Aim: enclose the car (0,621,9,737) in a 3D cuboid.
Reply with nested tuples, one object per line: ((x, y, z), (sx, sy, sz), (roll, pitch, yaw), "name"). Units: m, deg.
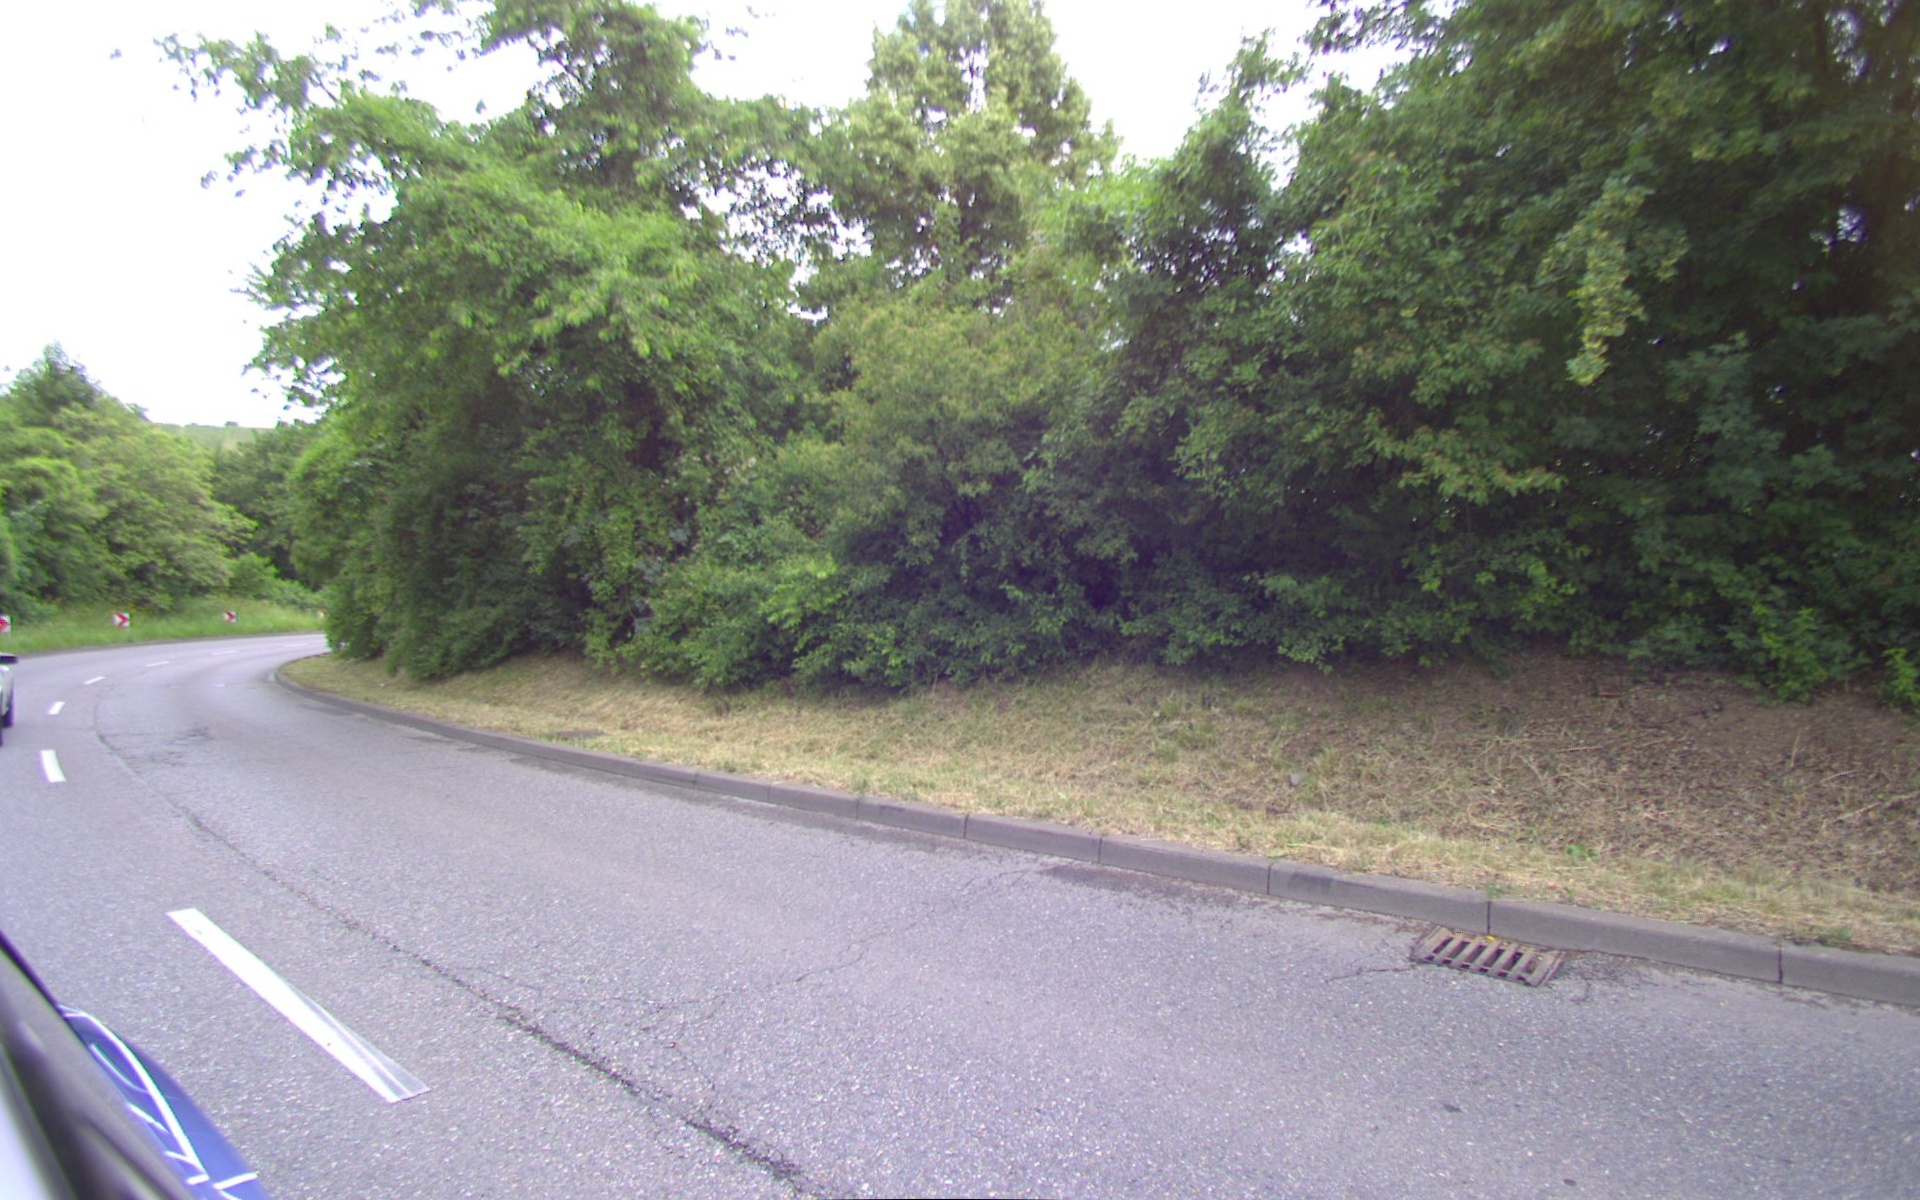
((-12.734, 0.981, 12.105), (1.839, 1.442, 4.361), (0, -1, -42), "car")
